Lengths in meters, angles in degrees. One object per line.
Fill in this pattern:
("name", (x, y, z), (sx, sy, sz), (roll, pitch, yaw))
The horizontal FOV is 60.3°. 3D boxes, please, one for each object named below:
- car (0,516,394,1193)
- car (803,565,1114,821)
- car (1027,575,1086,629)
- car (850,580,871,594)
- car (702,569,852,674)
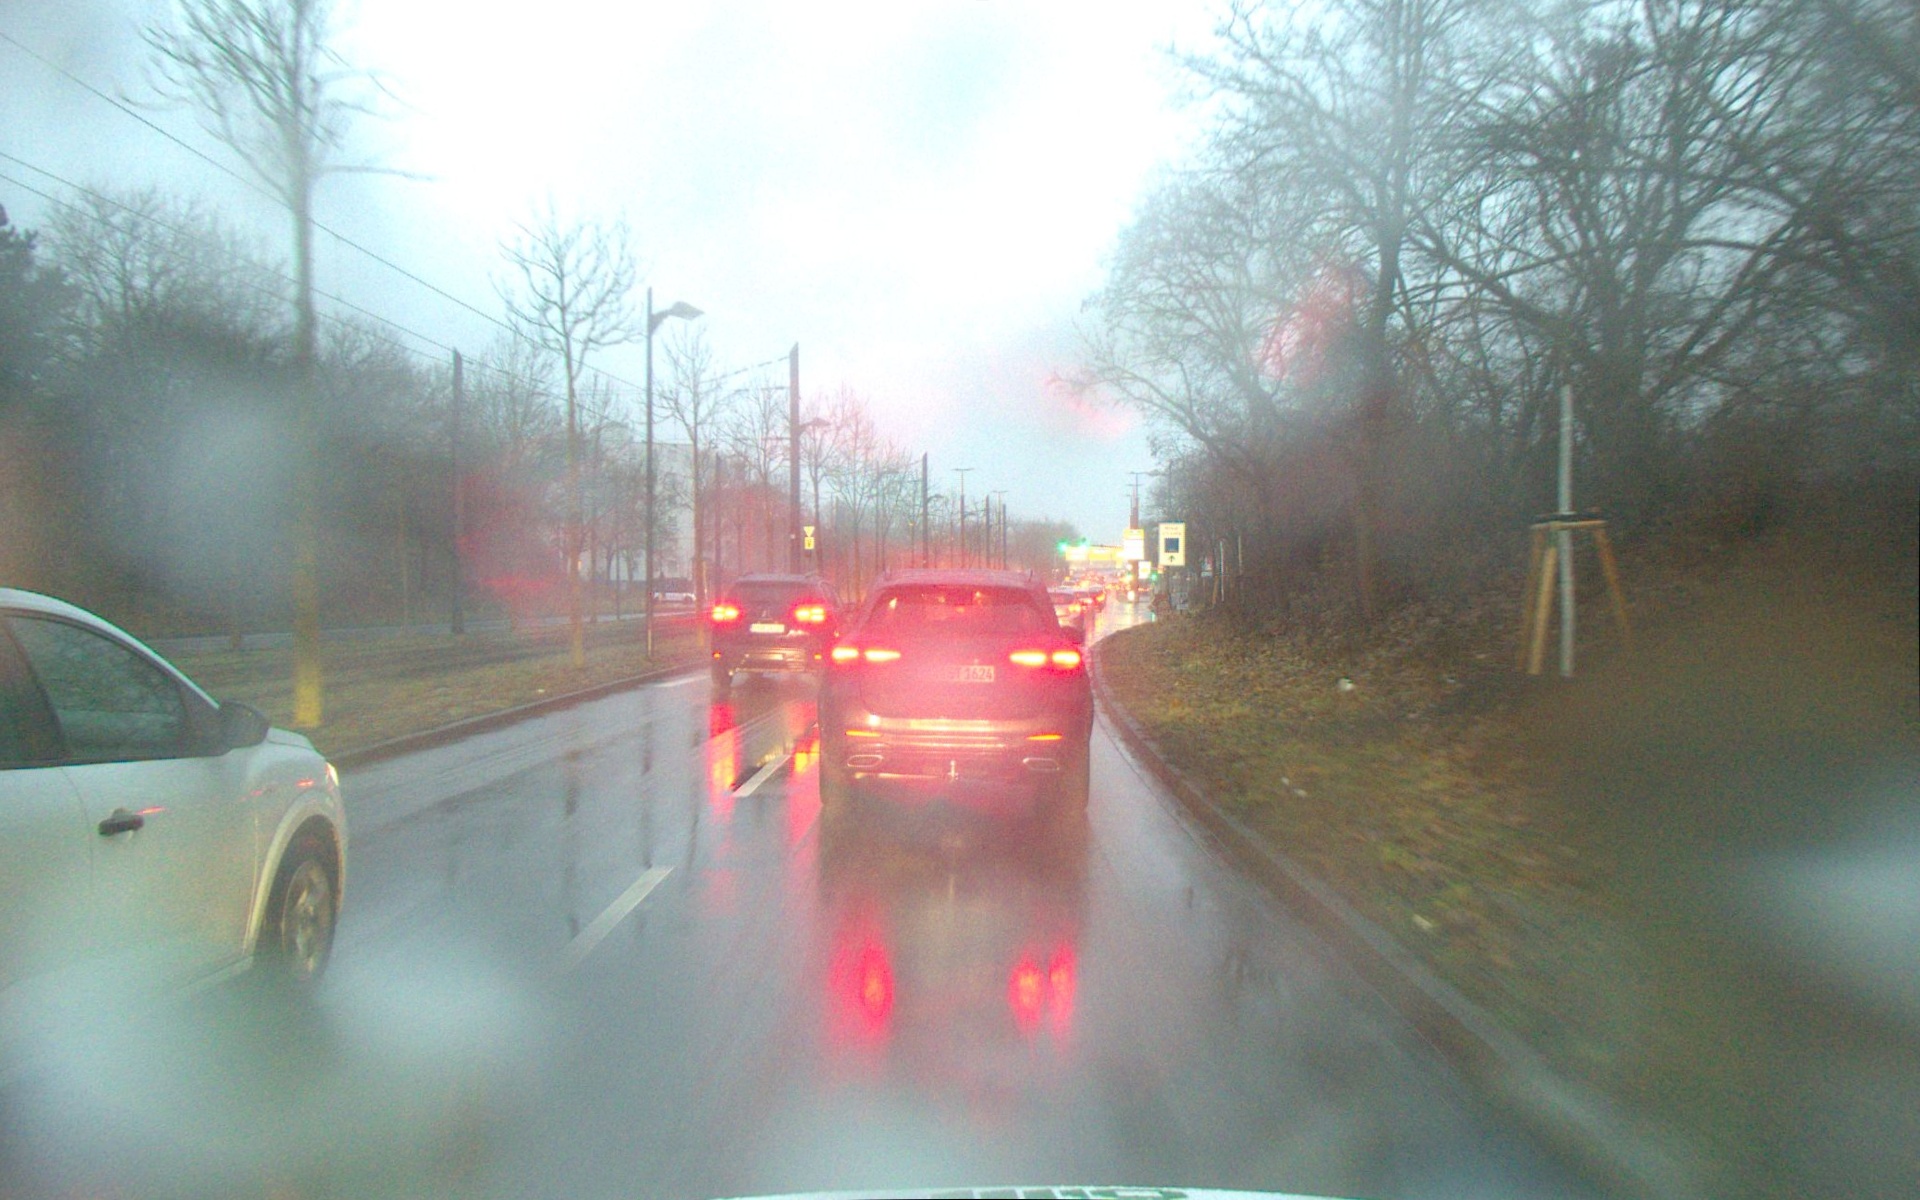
("car", (-3.044, 0.584, 4.395), (1.674, 1.551, 4.134), (0, 0, 0))
("car", (-0.075, 0.562, 12.438), (1.958, 1.612, 3.999), (0, 1, -2))
("car", (2.935, 0.043, 50.980), (1.673, 1.585, 3.997), (0, 0, 2))
("car", (-12.028, -1.565, 200.044), (1.951, 1.687, 4.002), (1, 0, 5))
("car", (-2.748, 0.281, 25.675), (1.841, 1.484, 4.000), (-1, 1, 0))
